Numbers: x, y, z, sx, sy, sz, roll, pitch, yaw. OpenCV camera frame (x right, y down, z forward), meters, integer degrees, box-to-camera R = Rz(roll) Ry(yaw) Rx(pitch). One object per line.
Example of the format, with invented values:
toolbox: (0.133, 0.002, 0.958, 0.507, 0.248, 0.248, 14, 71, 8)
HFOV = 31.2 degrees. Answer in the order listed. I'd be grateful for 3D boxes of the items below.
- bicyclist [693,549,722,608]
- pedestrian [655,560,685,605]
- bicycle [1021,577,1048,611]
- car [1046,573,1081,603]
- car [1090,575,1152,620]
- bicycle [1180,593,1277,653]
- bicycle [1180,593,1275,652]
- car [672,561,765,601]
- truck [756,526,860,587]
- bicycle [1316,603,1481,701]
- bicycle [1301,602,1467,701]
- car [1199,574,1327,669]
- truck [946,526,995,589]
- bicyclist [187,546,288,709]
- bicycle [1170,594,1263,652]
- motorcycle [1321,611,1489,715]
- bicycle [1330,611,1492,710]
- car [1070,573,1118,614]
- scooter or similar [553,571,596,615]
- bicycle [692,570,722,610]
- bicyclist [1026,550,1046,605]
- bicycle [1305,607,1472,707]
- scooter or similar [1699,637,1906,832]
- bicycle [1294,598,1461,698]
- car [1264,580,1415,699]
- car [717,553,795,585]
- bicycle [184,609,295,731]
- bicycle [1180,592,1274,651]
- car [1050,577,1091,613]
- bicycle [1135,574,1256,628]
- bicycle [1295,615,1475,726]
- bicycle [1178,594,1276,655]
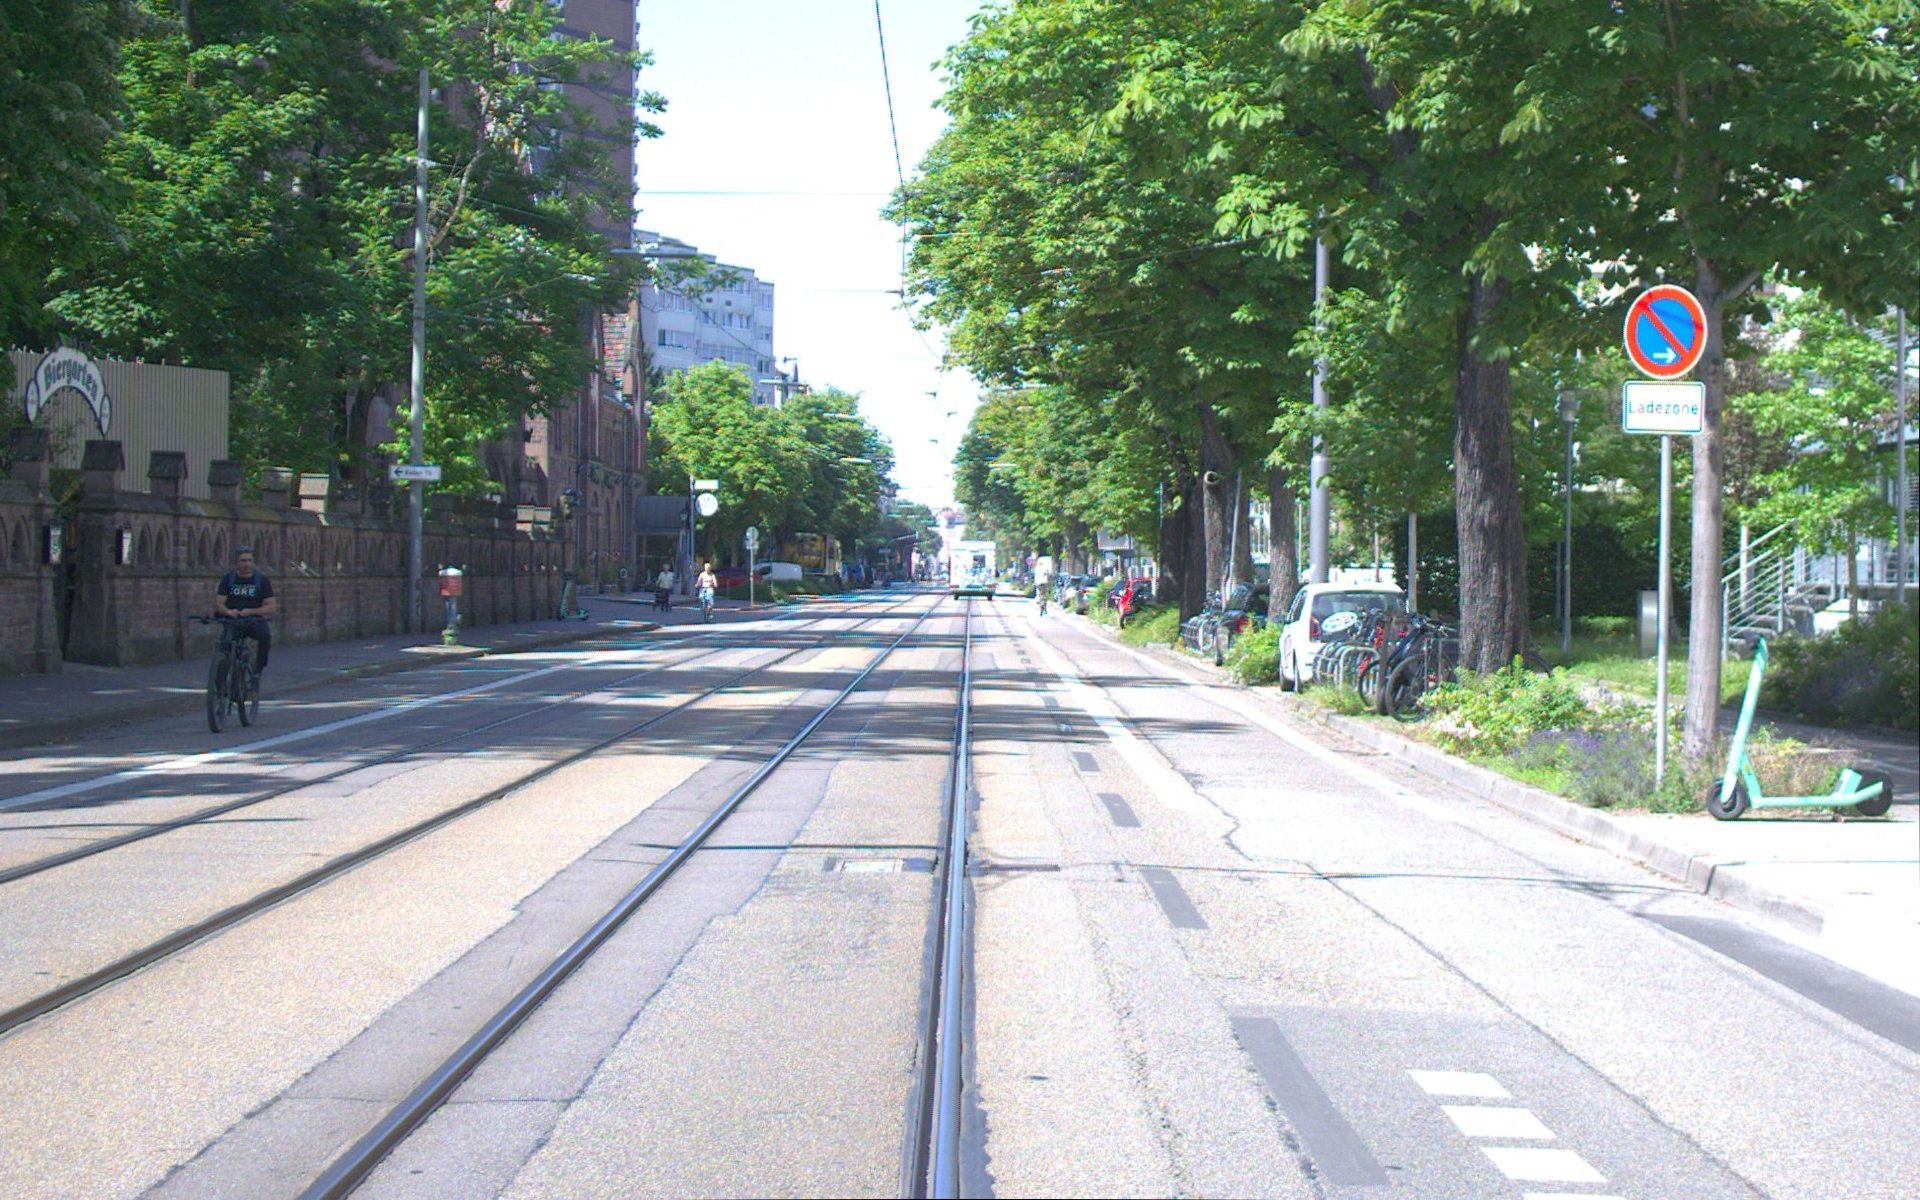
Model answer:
bicyclist: (-7.369, -0.642, 100.359, 0.725, 1.692, 1.147, 1, 0, 0)
pedestrian: (-9.726, -0.595, 115.395, 0.883, 1.507, 1.476, 1, 0, -8)
bicycle: (2.531, -0.204, 117.328, 0.855, 1.106, 2.139, 1, 1, 0)
car: (5.175, -0.600, 171.525, 1.630, 1.467, 4.114, 1, 1, 0)
car: (4.964, -0.090, 106.329, 1.630, 1.350, 3.902, 1, 1, -2)
bicycle: (4.980, 0.426, 63.769, 1.724, 1.082, 0.697, 1, 0, 0)
bicycle: (5.012, 0.421, 64.416, 1.724, 1.082, 0.570, 1, 0, 0)
car: (-11.516, -0.910, 164.070, 3.987, 1.804, 1.889, 1, 0, -37)
truck: (-9.915, -2.844, 225.743, 2.816, 3.846, 9.988, 1, 0, 22)
bicycle: (5.045, 0.596, 39.653, 1.792, 1.082, 0.726, 1, 0, 0)
bicycle: (5.027, 0.605, 40.861, 1.872, 1.138, 0.686, 1, 0, 0)
car: (5.029, 0.331, 57.504, 1.630, 1.478, 4.273, 1, 1, -2)
truck: (0.525, -2.189, 176.704, 2.402, 3.098, 6.037, 1, 1, 0)
bicyclist: (-6.910, 0.253, 32.922, 0.740, 1.525, 0.947, 1, 0, 1)
bicycle: (4.930, 0.445, 66.082, 1.724, 1.082, 0.615, 1, 0, 0)
motorcycle: (4.829, 0.680, 37.367, 1.724, 1.082, 0.658, 1, 0, 0)
bicycle: (5.077, 0.678, 38.767, 1.724, 1.082, 0.639, 1, 0, 0)
car: (4.960, -0.267, 128.015, 1.630, 1.467, 4.114, 1, 0, 0)
scooter or similar: (-9.964, -0.171, 88.816, 0.333, 1.125, 1.184, 1, 0, 39)
bicycle: (-7.387, -0.301, 100.417, 0.662, 1.150, 2.014, 1, 1, 1)
bicyclist: (2.584, -0.773, 117.468, 0.636, 1.865, 1.024, 1, 0, 0)
bicycle: (4.997, 0.661, 40.183, 1.849, 1.128, 0.680, 1, 0, 0)
scooter or similar: (5.219, 0.825, 21.340, 1.126, 1.162, 0.676, 1, 1, 3)
bicycle: (5.033, 0.578, 41.508, 1.904, 1.165, 0.819, 1, 0, 0)
car: (4.962, 0.491, 45.315, 1.630, 1.467, 3.630, 1, 0, 1)
car: (-11.689, -1.784, 196.847, 3.986, 1.744, 2.000, 1, 0, -30)
bicycle: (-6.907, 0.653, 33.040, 0.592, 1.102, 2.054, 1, 1, 1)
bicycle: (5.044, 0.407, 65.007, 1.724, 1.082, 0.589, 1, 0, 0)
car: (4.666, -0.207, 145.911, 1.630, 1.467, 4.114, 1, 1, 0)
bicycle: (5.981, 0.020, 87.319, 3.028, 1.327, 1.041, 1, 0, 4)
bicycle: (4.334, 0.714, 35.154, 1.724, 1.082, 0.789, 1, 0, 0)
bicycle: (4.899, 0.443, 63.112, 1.724, 1.082, 0.629, 1, 0, 0)
